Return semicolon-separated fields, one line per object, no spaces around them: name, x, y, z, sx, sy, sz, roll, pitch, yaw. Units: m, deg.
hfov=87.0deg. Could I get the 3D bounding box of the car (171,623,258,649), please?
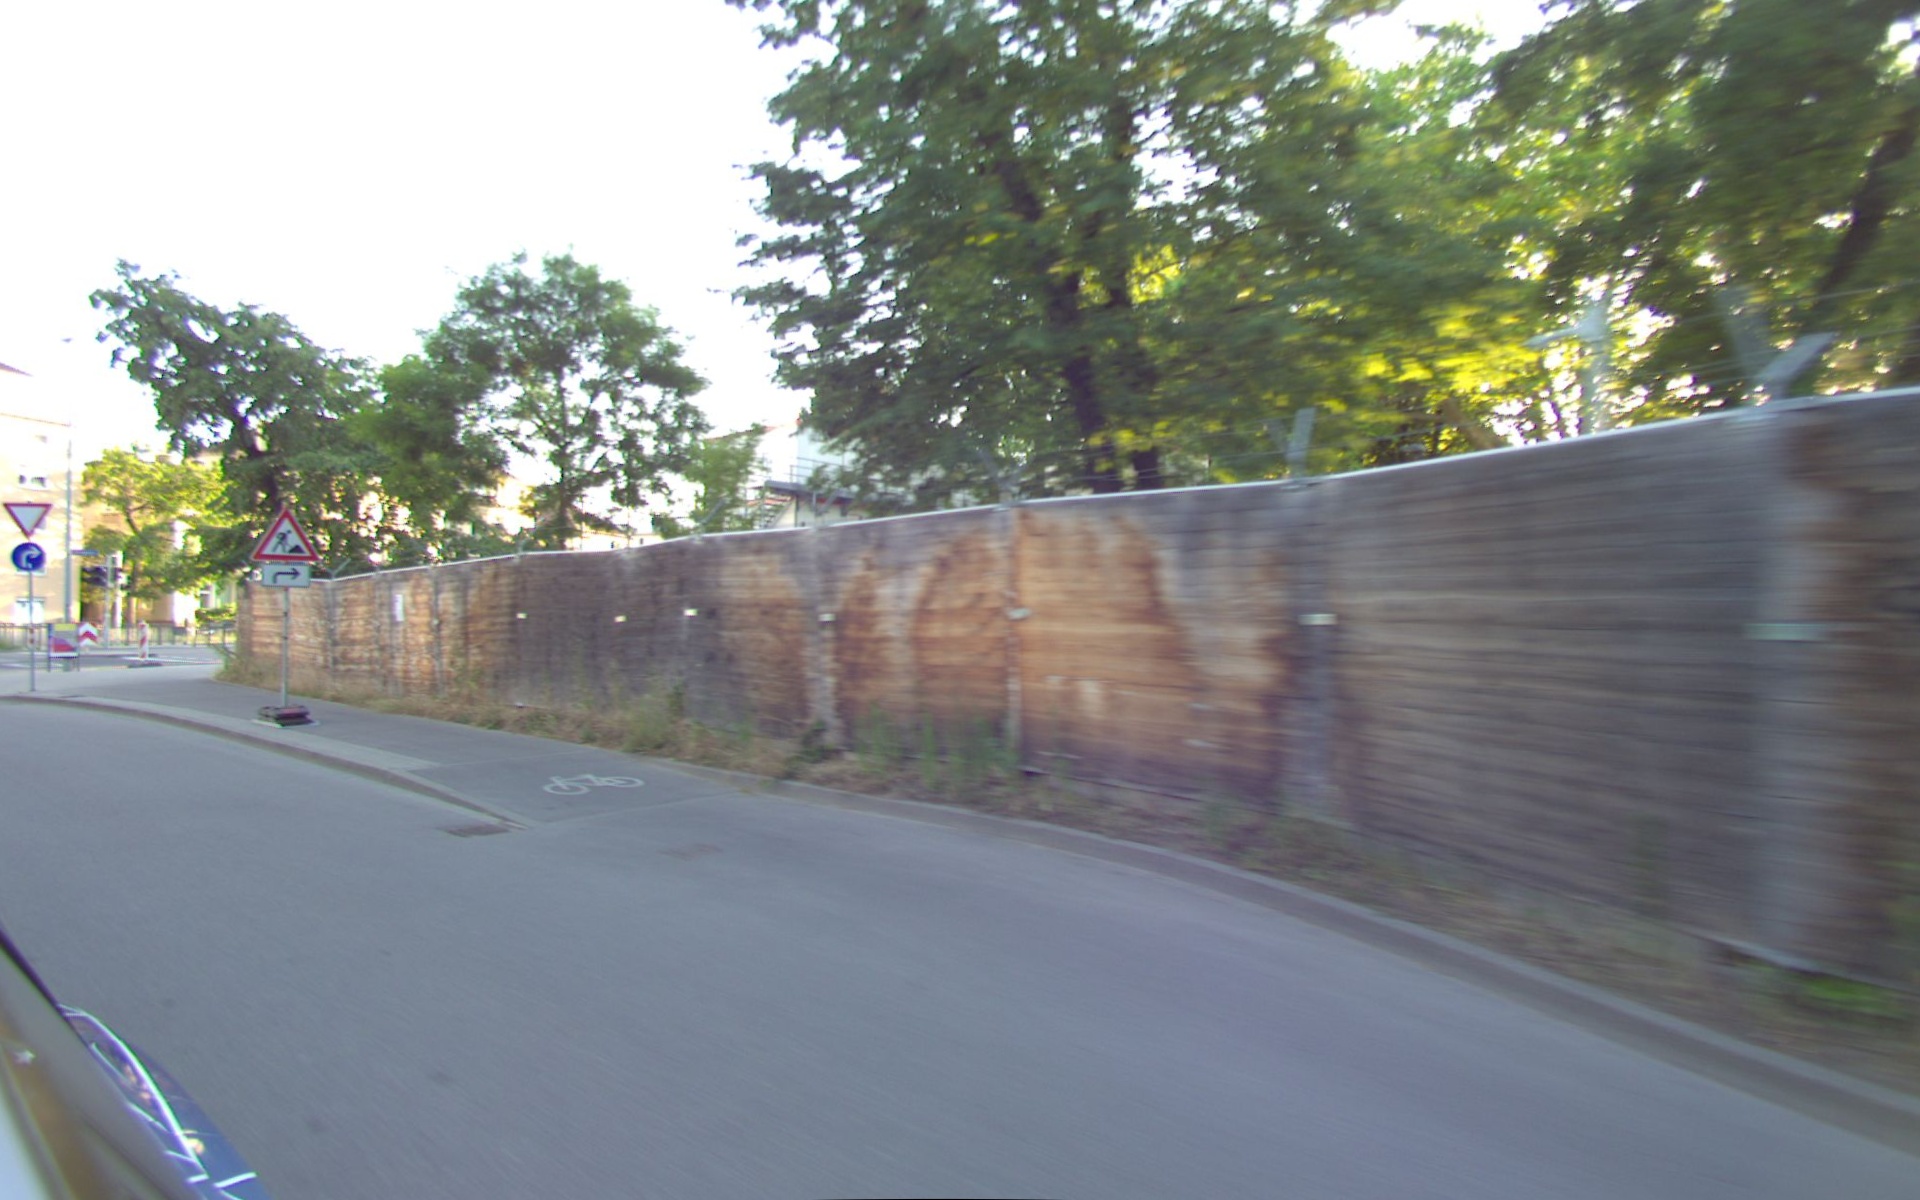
car;-45.923;2.170;62.424;1.979;1.516;3.985;1;-1;12
